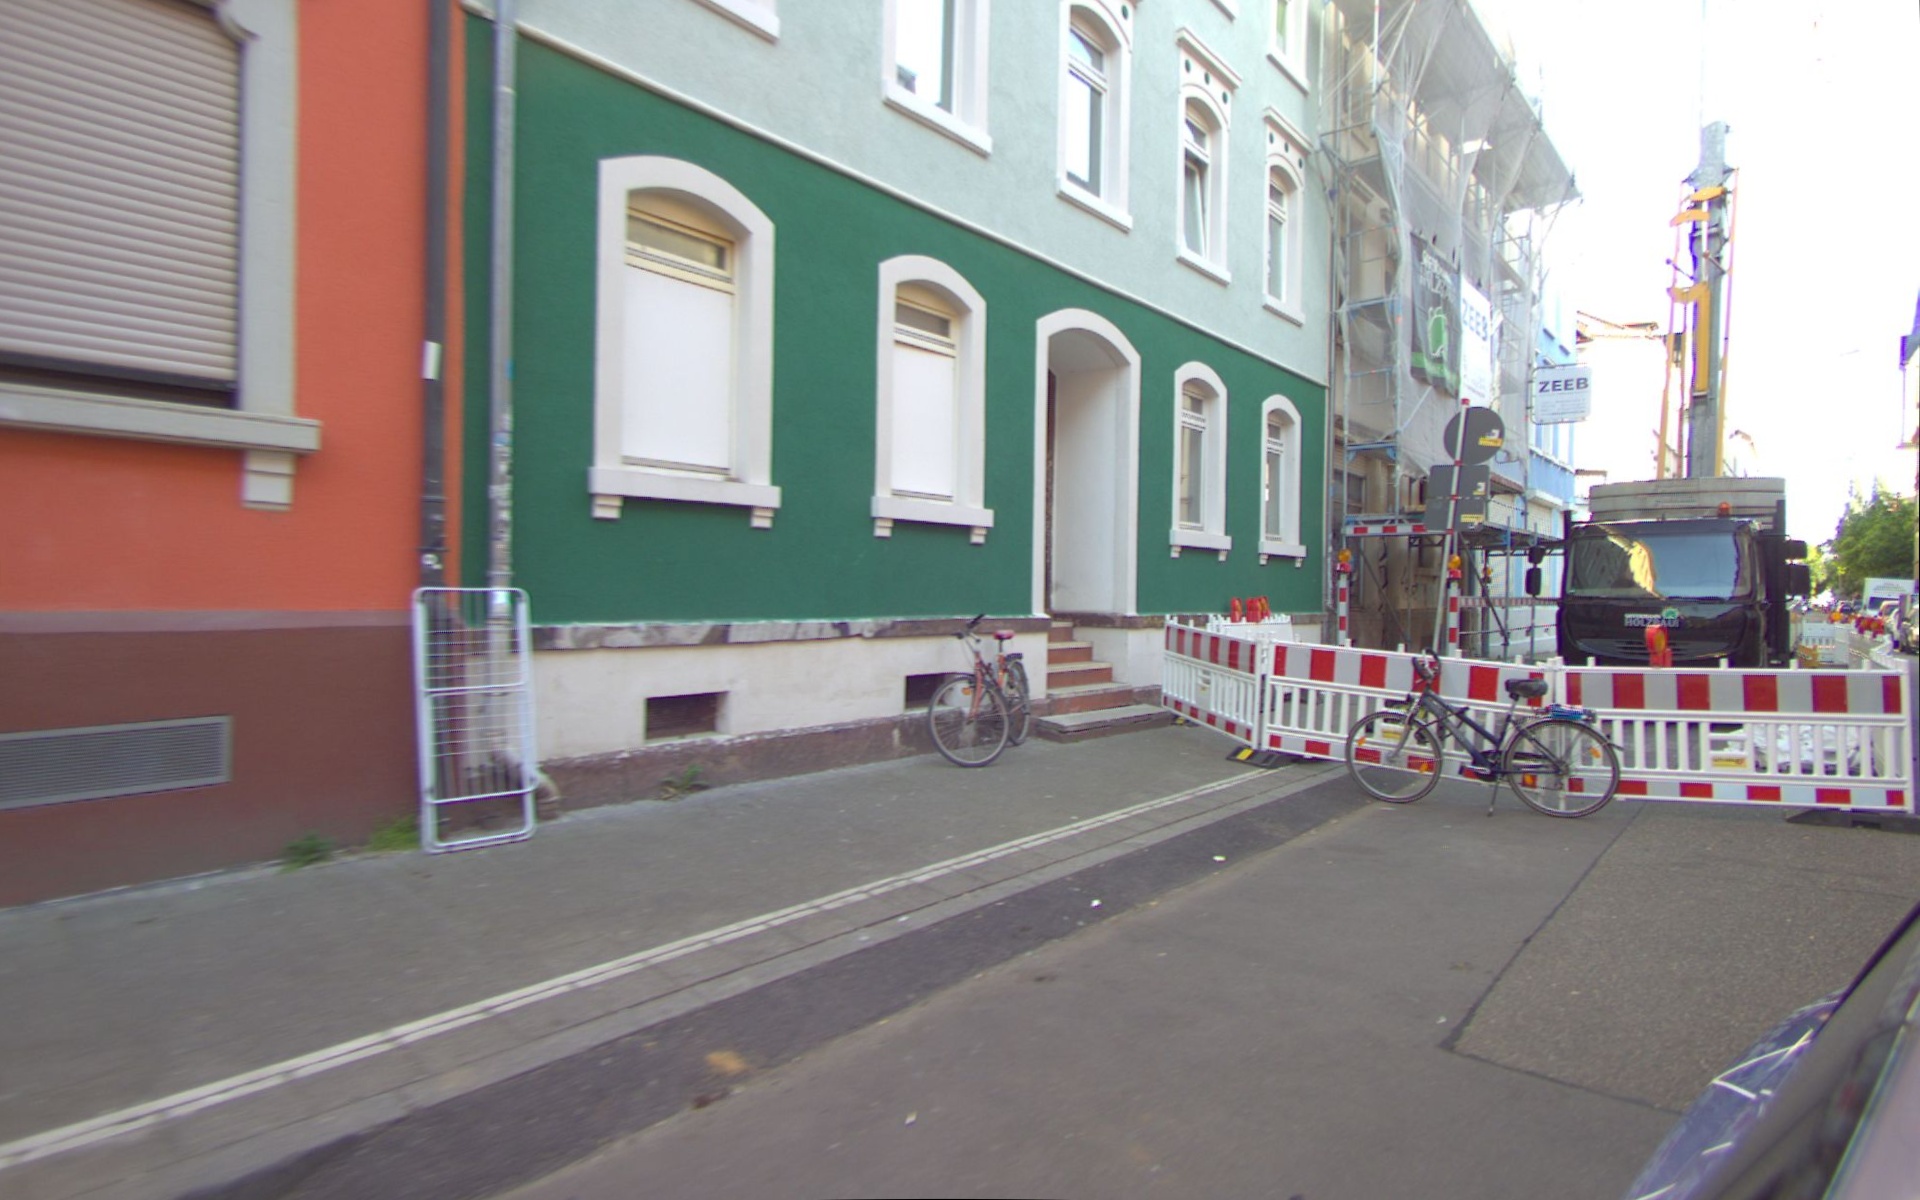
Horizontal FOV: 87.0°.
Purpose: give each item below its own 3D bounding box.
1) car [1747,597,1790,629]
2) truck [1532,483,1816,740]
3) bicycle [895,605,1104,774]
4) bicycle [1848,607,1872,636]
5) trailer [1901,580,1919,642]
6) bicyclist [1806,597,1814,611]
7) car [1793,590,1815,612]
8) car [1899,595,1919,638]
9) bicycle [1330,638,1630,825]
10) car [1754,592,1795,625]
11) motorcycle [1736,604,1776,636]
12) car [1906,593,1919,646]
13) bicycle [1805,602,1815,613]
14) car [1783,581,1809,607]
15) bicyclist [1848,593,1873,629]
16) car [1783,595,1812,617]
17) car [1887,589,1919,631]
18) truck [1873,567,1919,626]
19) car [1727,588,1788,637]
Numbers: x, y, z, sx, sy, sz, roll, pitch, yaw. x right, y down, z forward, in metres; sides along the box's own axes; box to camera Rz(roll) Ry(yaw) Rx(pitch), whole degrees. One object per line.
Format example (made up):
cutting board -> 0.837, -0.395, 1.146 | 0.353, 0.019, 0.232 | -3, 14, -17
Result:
car -> 42.812, 0.653, 53.589 | 1.615, 1.522, 3.717 | 3, 2, 40
truck -> 10.747, 0.087, 14.863 | 2.659, 2.849, 7.283 | -1, 0, 41
bicycle -> 0.365, 0.653, 8.212 | 0.654, 1.142, 1.807 | 6, 5, 41
bicycle -> 36.738, 0.853, 41.299 | 0.708, 1.125, 1.905 | 1, 1, 43
trailer -> 34.282, 0.386, 35.334 | 1.659, 2.086, 4.304 | 3, 2, 38
bicyclist -> 99.872, 0.495, 118.922 | 0.712, 1.680, 0.865 | -1, 0, 39
car -> 110.128, 0.147, 132.049 | 1.989, 2.828, 4.503 | -1, 0, 37
car -> 37.998, 0.648, 39.547 | 1.675, 1.574, 3.762 | 3, 2, 40
bicycle -> 3.678, 0.867, 7.235 | 1.843, 1.124, 0.636 | 0, 0, 35
car -> 48.013, 0.460, 59.651 | 1.708, 1.752, 4.343 | 3, 2, 40
motorcycle -> 30.729, 0.762, 39.047 | 1.960, 1.099, 0.721 | -1, 5, -38
car -> 31.079, 0.638, 31.723 | 1.719, 1.625, 4.107 | 3, 2, 39
bicycle -> 99.858, 0.864, 118.895 | 0.725, 1.195, 2.454 | -1, 0, 38
car -> 92.953, -0.657, 112.606 | 1.989, 2.828, 4.503 | -1, 0, 37
bicyclist -> 36.721, 0.432, 41.268 | 0.708, 1.454, 0.777 | 1, 0, 43
car -> 82.190, 0.597, 99.380 | 1.989, 2.039, 4.503 | -1, 0, 37
car -> 44.600, 0.453, 47.182 | 1.800, 1.867, 4.182 | 2, 2, 40
truck -> 53.836, -0.238, 57.872 | 2.290, 3.223, 6.938 | 2, 2, 42
car -> 32.865, 0.468, 41.657 | 1.747, 1.839, 4.306 | 3, 2, 40
